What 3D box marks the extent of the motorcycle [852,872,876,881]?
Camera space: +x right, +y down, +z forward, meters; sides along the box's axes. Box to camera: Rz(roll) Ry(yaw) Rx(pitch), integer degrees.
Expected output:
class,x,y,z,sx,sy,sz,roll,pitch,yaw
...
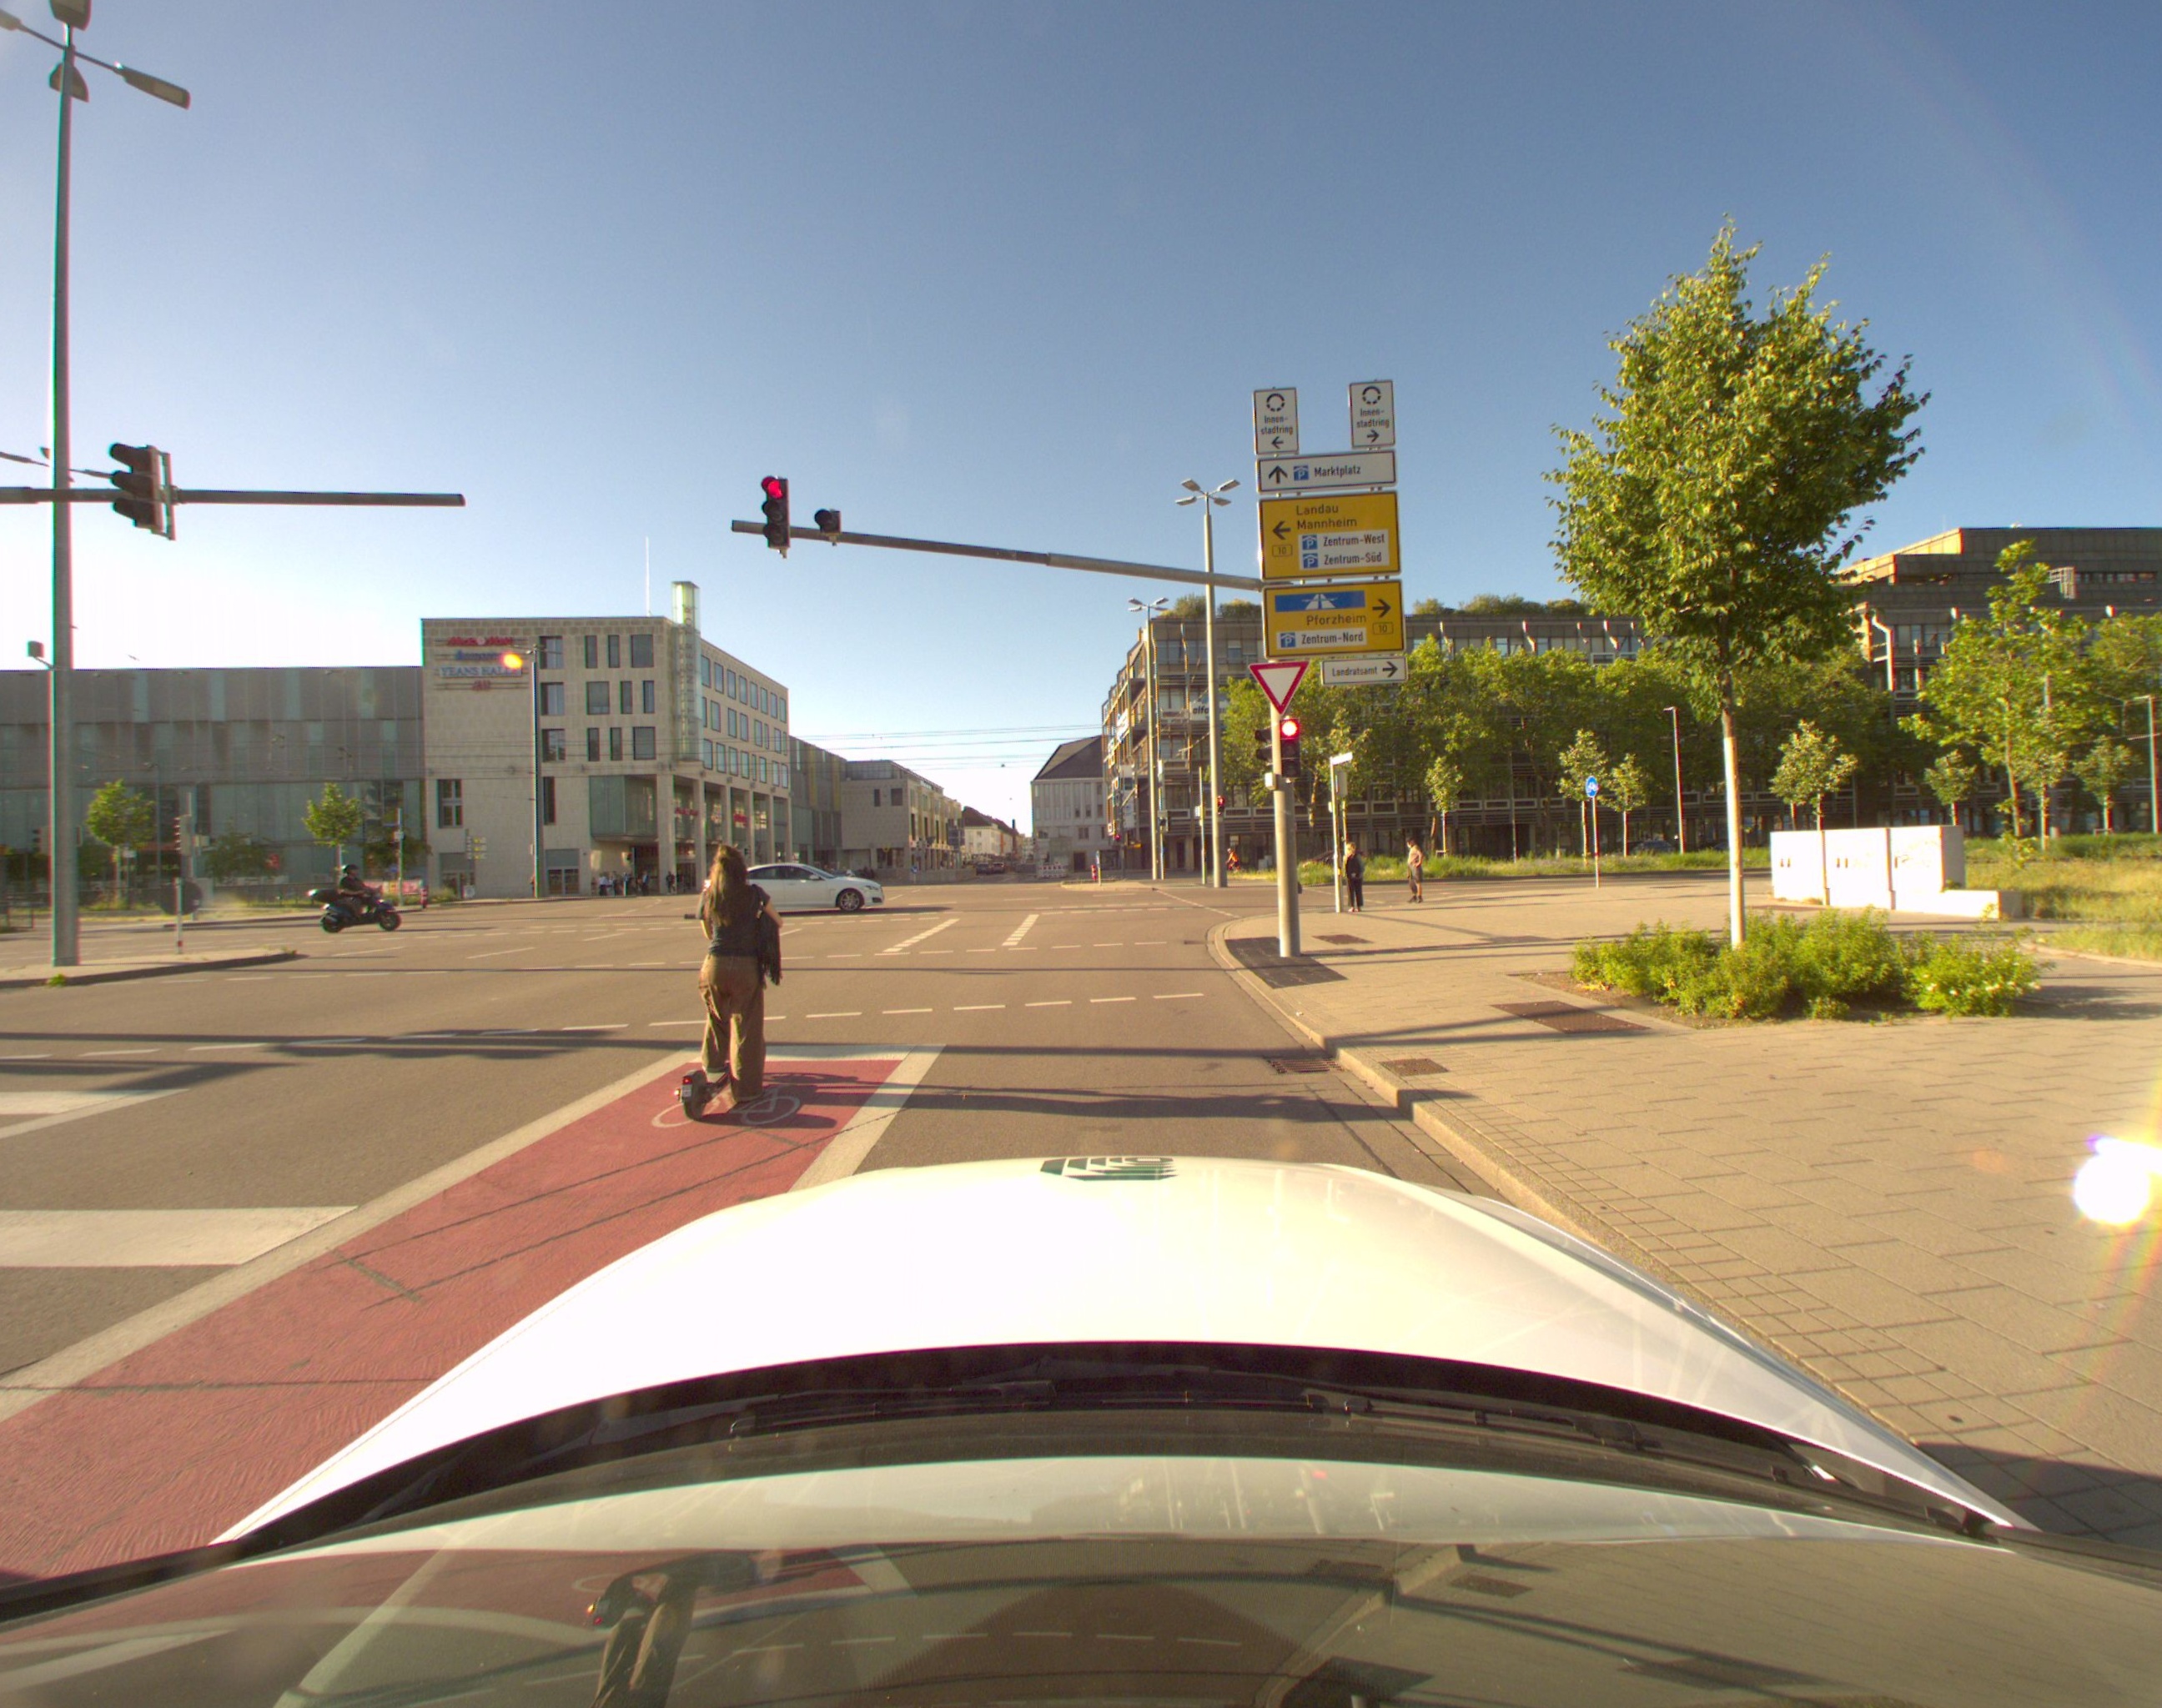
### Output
class,x,y,z,sx,sy,sz,roll,pitch,yaw
motorcycle,-26.395,2.717,99.087,2.600,0.993,1.113,0,-1,-8

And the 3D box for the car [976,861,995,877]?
class,x,y,z,sx,sy,sz,roll,pitch,yaw
car,-10.942,1.690,93.527,1.816,1.684,3.994,-2,0,-4

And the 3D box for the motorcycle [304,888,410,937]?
class,x,y,z,sx,sy,sz,roll,pitch,yaw
motorcycle,-18.116,1.445,20.407,1.952,1.100,0.648,-2,0,-6

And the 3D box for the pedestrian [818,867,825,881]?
class,x,y,z,sx,sy,sz,roll,pitch,yaw
pedestrian,-30.907,2.366,97.046,0.465,1.729,0.632,-1,-1,35

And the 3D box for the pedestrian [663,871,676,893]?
class,x,y,z,sx,sy,sz,roll,pitch,yaw
pedestrian,-30.716,2.073,60.833,0.590,1.646,0.629,-2,0,1

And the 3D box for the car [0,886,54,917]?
class,x,y,z,sx,sy,sz,roll,pitch,yaw
car,-63.967,2.868,47.850,4.829,1.684,1.825,-2,0,0

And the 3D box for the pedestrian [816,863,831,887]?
class,x,y,z,sx,sy,sz,roll,pitch,yaw
pedestrian,-20.604,1.690,65.050,0.935,1.864,0.541,-2,0,18

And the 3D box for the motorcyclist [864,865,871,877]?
class,x,y,z,sx,sy,sz,roll,pitch,yaw
motorcyclist,-26.041,2.098,99.335,0.627,1.406,0.661,0,-1,-7

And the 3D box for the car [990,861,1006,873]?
class,x,y,z,sx,sy,sz,roll,pitch,yaw
car,-11.024,1.753,108.534,1.652,1.458,3.543,-2,0,2

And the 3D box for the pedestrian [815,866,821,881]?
class,x,y,z,sx,sy,sz,roll,pitch,yaw
pedestrian,-32.316,2.399,99.896,0.465,1.729,0.524,-1,-1,40

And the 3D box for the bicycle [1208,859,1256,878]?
class,x,y,z,sx,sy,sz,roll,pitch,yaw
bicycle,8.724,0.820,47.064,2.561,0.975,1.047,-2,0,-1

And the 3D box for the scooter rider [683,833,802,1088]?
class,x,y,z,sx,sy,sz,roll,pitch,yaw
scooter rider,-2.151,0.648,5.212,0.552,1.530,0.448,-2,0,-7

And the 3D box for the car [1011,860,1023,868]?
class,x,y,z,sx,sy,sz,roll,pitch,yaw
car,-11.473,1.814,146.411,1.652,1.458,3.543,-2,0,2

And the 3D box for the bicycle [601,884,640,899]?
class,x,y,z,sx,sy,sz,roll,pitch,yaw
bicycle,-31.298,2.564,55.386,2.227,0.903,0.630,-2,0,-35

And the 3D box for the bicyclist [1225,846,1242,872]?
class,x,y,z,sx,sy,sz,roll,pitch,yaw
bicyclist,8.820,0.309,47.079,0.820,1.474,0.652,-2,0,-2

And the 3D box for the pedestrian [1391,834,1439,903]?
class,x,y,z,sx,sy,sz,roll,pitch,yaw
pedestrian,8.623,0.364,21.051,0.869,1.706,0.768,-2,0,0

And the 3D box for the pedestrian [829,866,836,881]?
class,x,y,z,sx,sy,sz,roll,pitch,yaw
pedestrian,-29.869,2.365,97.934,0.465,1.729,0.699,-1,-1,40

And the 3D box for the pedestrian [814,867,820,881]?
class,x,y,z,sx,sy,sz,roll,pitch,yaw
pedestrian,-31.981,2.386,98.578,0.465,1.729,0.524,-1,-1,40

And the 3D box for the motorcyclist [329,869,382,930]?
class,x,y,z,sx,sy,sz,roll,pitch,yaw
motorcyclist,-18.174,1.131,20.403,0.748,1.479,0.598,-2,0,-6

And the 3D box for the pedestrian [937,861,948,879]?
class,x,y,z,sx,sy,sz,roll,pitch,yaw
pedestrian,-13.869,1.570,81.716,0.896,1.782,0.809,-2,0,1

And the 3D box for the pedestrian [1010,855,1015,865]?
class,x,y,z,sx,sy,sz,roll,pitch,yaw
pedestrian,-13.913,1.193,165.268,0.907,1.965,0.823,0,-1,1

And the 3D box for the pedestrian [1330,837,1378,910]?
class,x,y,z,sx,sy,sz,roll,pitch,yaw
pedestrian,6.308,0.438,18.840,0.763,1.614,0.874,-2,0,0

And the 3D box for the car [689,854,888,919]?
class,x,y,z,sx,sy,sz,roll,pitch,yaw
car,-8.220,0.879,23.371,5.088,1.564,1.992,-2,0,-13

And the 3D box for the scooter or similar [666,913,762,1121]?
class,x,y,z,sx,sy,sz,roll,pitch,yaw
scooter or similar,-2.245,0.953,5.035,0.306,1.107,0.835,-2,0,-9

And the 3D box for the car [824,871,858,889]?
class,x,y,z,sx,sy,sz,roll,pitch,yaw
car,-20.725,2.204,70.568,1.670,1.357,4.021,-2,0,1

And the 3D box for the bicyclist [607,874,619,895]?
class,x,y,z,sx,sy,sz,roll,pitch,yaw
bicyclist,-31.685,2.062,55.163,0.592,1.448,0.621,-2,0,-40

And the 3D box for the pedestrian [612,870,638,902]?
class,x,y,z,sx,sy,sz,roll,pitch,yaw
pedestrian,-25.126,1.767,44.916,0.821,1.675,1.004,-2,0,-2

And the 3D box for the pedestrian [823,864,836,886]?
class,x,y,z,sx,sy,sz,roll,pitch,yaw
pedestrian,-19.720,1.651,63.853,0.697,1.688,0.620,-2,0,2

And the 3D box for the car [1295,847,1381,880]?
class,x,y,z,sx,sy,sz,roll,pitch,yaw
car,14.561,0.530,46.227,4.287,1.684,1.820,-2,0,-9

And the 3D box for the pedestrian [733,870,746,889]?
class,x,y,z,sx,sy,sz,roll,pitch,yaw
pedestrian,-29.066,2.169,69.325,0.771,1.638,0.628,-2,0,15
